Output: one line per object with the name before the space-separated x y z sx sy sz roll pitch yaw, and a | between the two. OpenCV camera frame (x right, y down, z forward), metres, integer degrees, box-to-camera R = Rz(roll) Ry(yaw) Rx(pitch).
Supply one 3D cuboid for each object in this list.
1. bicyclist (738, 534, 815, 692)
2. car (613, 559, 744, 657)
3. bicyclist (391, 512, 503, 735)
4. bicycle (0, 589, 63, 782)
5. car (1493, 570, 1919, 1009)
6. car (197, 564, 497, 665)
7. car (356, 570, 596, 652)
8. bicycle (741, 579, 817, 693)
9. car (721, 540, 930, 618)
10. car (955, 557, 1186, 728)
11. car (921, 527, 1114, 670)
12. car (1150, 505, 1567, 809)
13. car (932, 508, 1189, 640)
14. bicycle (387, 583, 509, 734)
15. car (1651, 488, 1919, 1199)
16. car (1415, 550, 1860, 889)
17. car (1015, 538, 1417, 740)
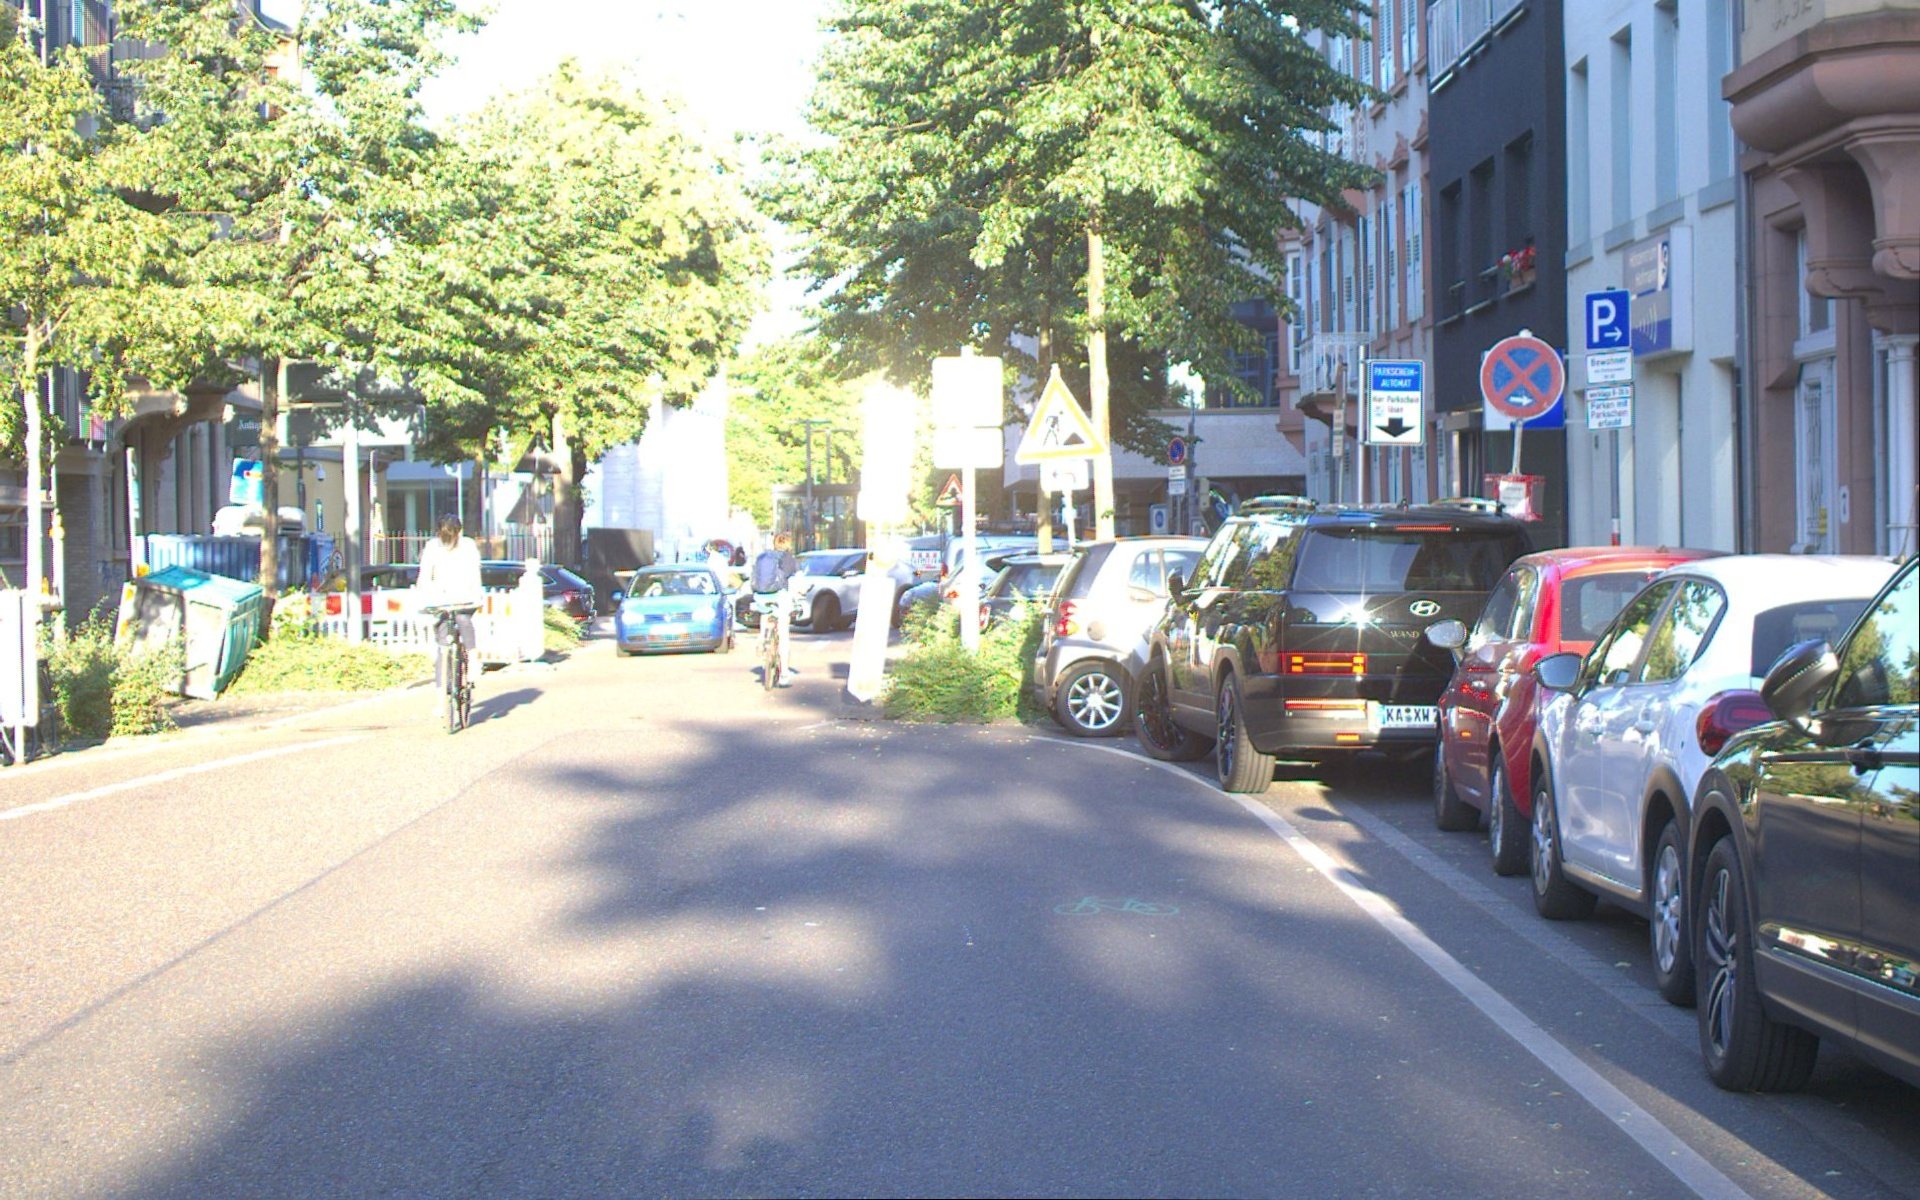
bicyclist | -2.018 0.140 37.869 0.780 1.690 1.007 -2 0 -3
car | -4.417 0.100 54.408 1.838 1.436 4.332 -1 1 -2
bicyclist | -4.305 0.191 28.926 0.780 1.823 1.007 -2 0 -3
bicycle | -7.357 0.608 25.837 0.844 1.346 3.188 -1 1 -9
car | 3.100 0.586 12.696 1.666 1.373 3.802 0 0 0
car | -9.118 0.207 51.345 4.103 1.461 1.889 0 0 1
car | -8.846 0.193 63.046 4.103 1.461 1.889 0 0 1
bicycle | -1.992 0.381 37.910 0.780 1.200 2.021 -2 0 -3
car | -2.614 -0.413 67.731 1.888 1.475 4.450 1 0 33
car | 1.083 0.399 35.908 1.993 1.662 4.510 0 0 -3
car | 0.760 -0.034 49.200 2.265 1.760 4.510 5 0 -4
car | 2.351 0.308 21.396 1.824 1.689 4.369 0 0 -3
car | 1.627 -0.421 54.590 3.987 2.007 2.000 -1 1 4
bicycle | -4.299 0.470 29.000 0.780 1.200 2.021 -2 0 -3
car | 2.939 0.596 7.991 1.812 1.662 4.206 0 0 0
car | 3.193 0.515 16.754 1.587 1.478 3.266 0 0 1
car | 1.978 0.298 27.067 2.968 1.531 1.433 0 0 -4
